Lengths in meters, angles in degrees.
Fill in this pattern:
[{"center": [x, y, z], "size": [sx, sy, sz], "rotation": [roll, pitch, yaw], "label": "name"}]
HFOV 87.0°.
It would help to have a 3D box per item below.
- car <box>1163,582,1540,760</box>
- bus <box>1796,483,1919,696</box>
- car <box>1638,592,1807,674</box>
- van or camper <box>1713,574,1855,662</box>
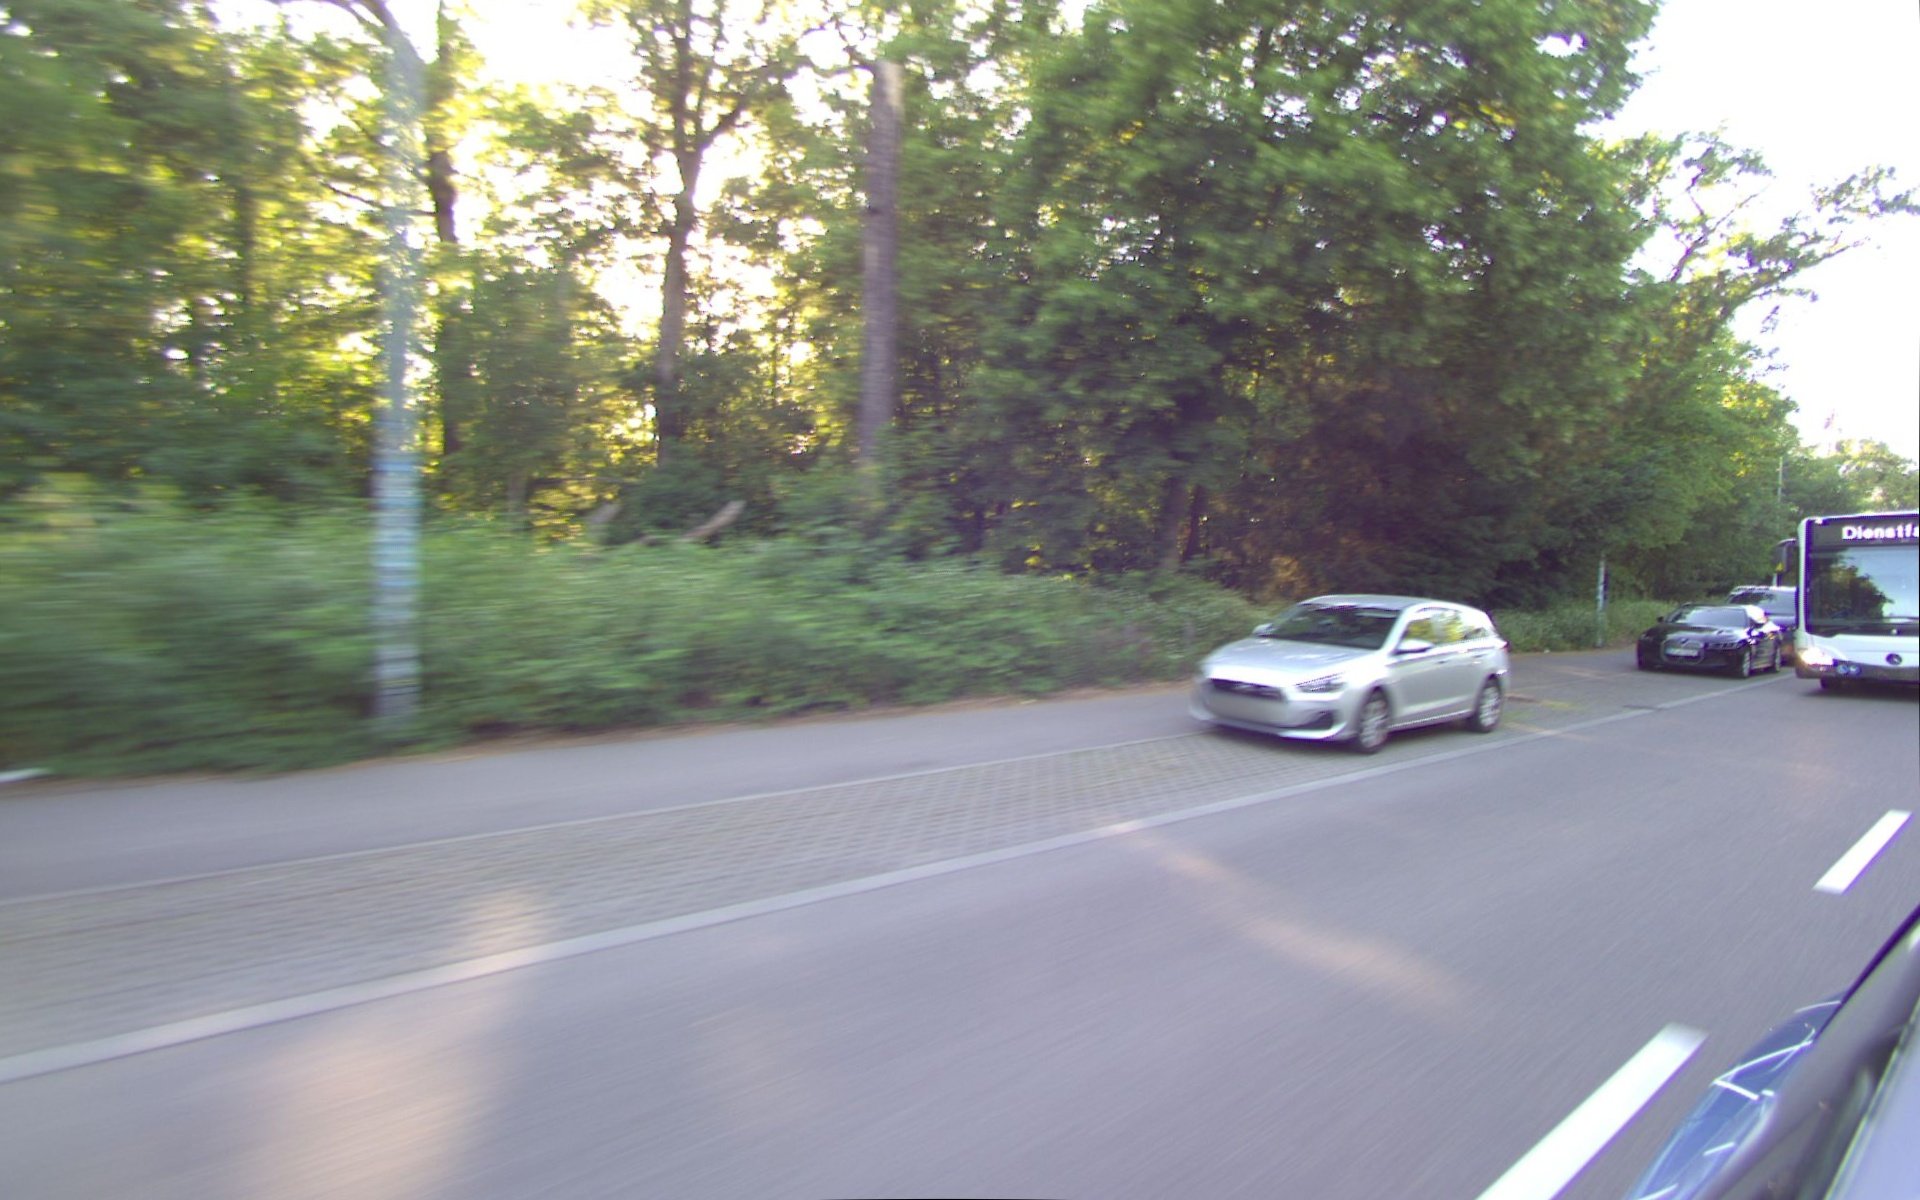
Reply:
[{"center": [4.368, 0.610, 10.930], "size": [4.583, 1.459, 1.732], "rotation": [0, 4, -40], "label": "car"}, {"center": [19.063, -0.157, 19.629], "size": [12.069, 3.262, 2.708], "rotation": [0, 1, -43], "label": "bus"}, {"center": [16.247, 0.633, 21.465], "size": [4.870, 1.459, 1.842], "rotation": [1, 3, -41], "label": "car"}, {"center": [20.931, 0.415, 25.632], "size": [5.043, 1.972, 1.897], "rotation": [0, 2, -41], "label": "van or camper"}]
